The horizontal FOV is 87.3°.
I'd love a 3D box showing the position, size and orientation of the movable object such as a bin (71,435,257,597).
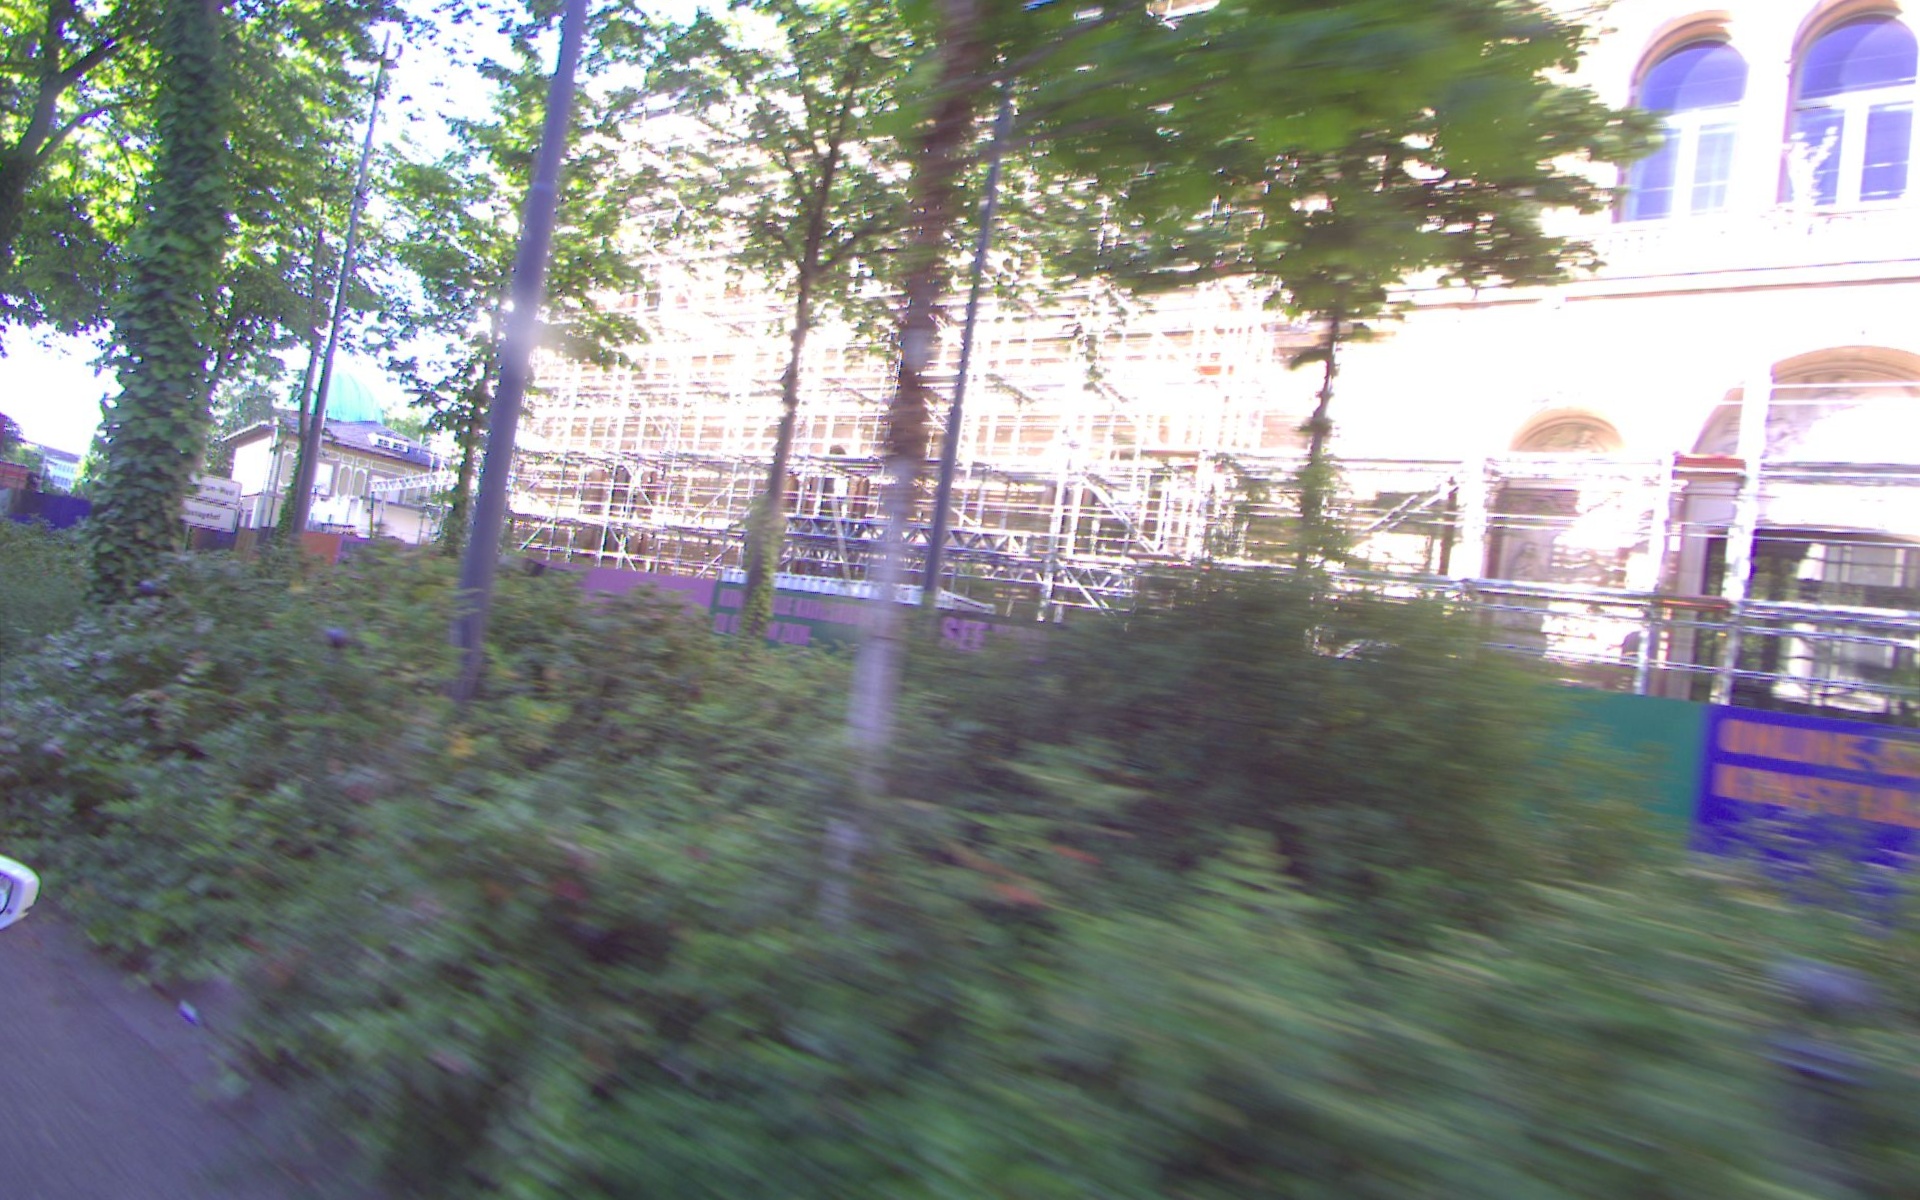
[{"bbox_3d":[-27.906,-2.899,35.103,7.796,4.588,3.306,6,-4,42],"label":"movable object such as a bin"}]
